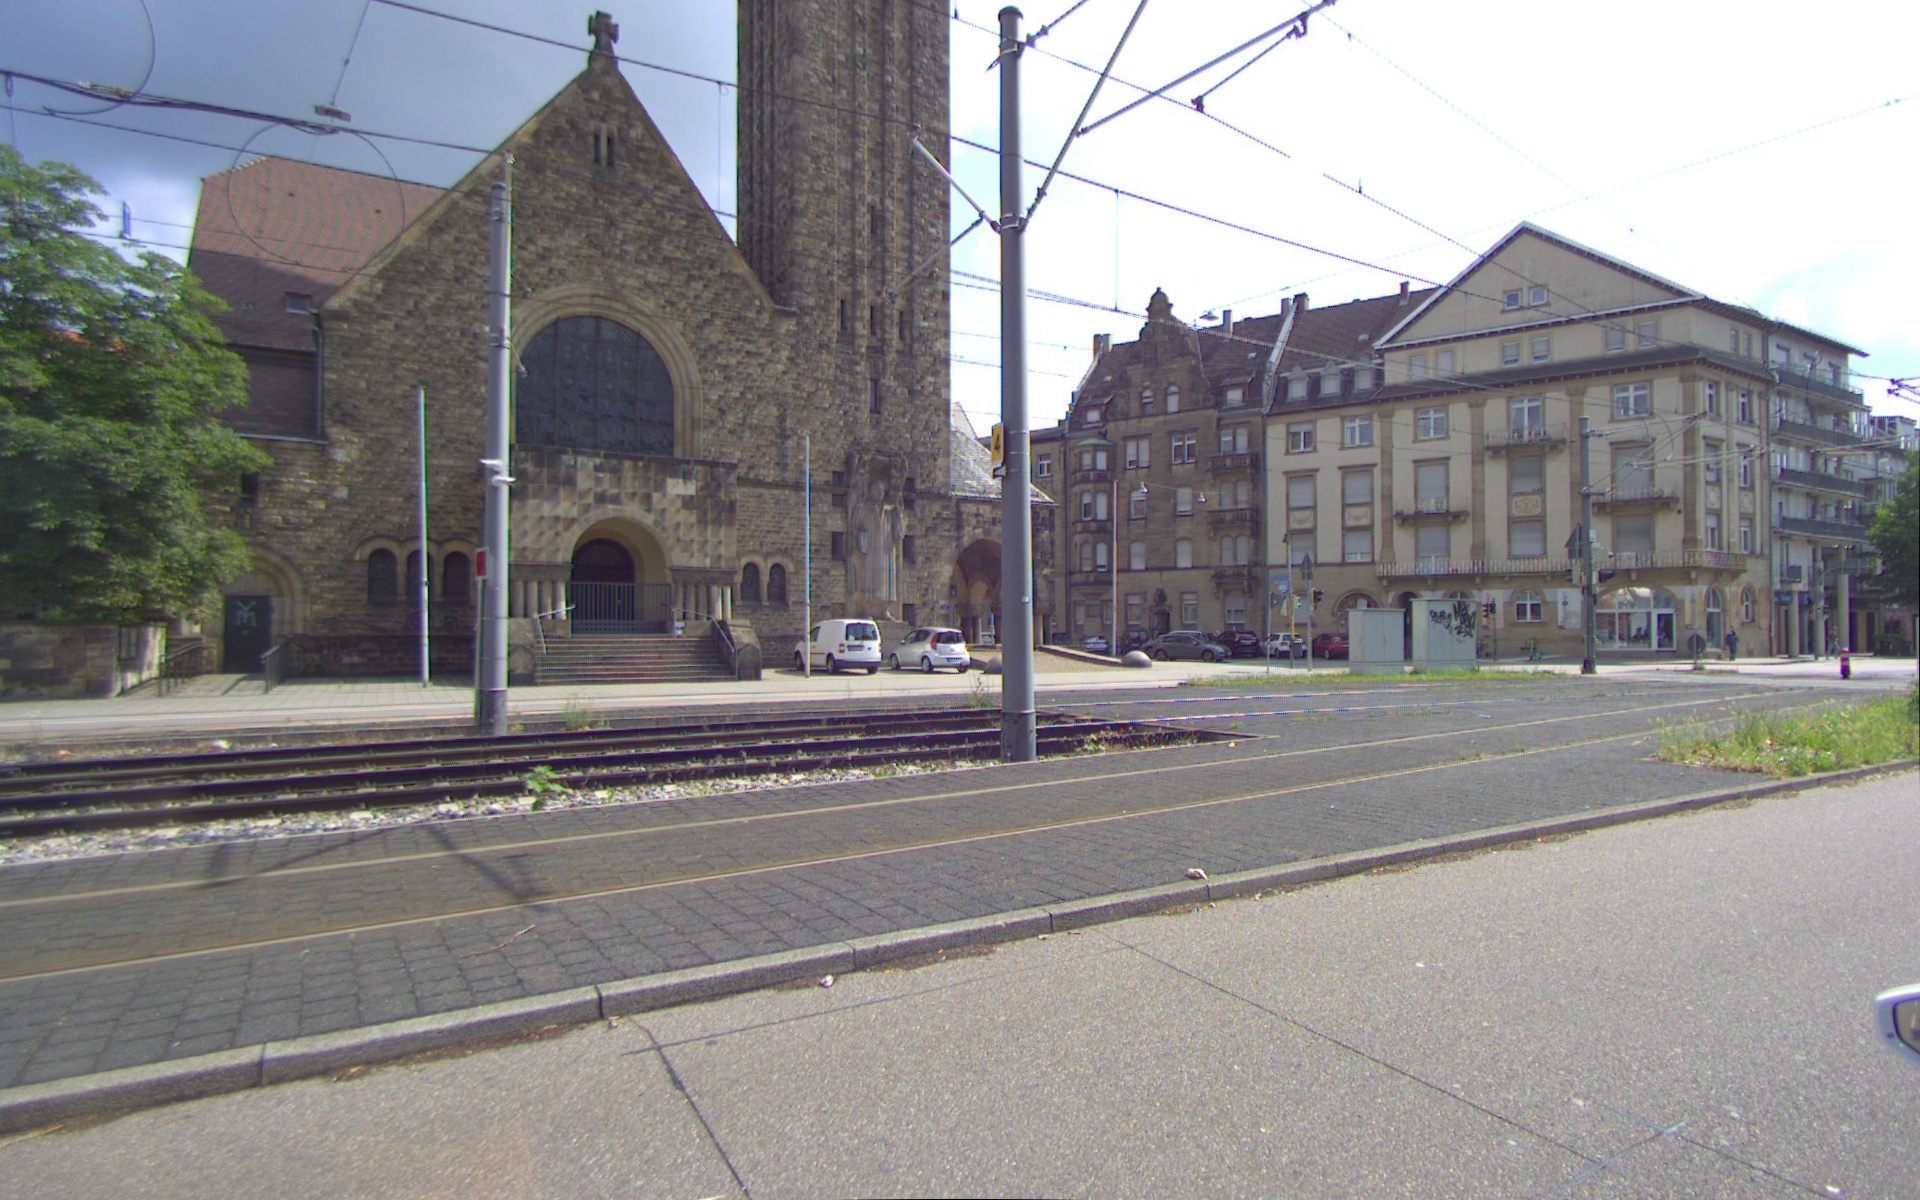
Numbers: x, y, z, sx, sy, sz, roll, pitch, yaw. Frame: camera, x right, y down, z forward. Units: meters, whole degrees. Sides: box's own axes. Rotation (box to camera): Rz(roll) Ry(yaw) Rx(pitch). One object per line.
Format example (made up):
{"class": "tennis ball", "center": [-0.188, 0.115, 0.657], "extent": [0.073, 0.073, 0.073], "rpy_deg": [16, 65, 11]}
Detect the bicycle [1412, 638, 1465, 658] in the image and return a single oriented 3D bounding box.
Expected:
{"class": "bicycle", "center": [26.045, 2.611, 54.690], "extent": [2.522, 1.067, 0.681], "rpy_deg": [-1, -2, 33]}

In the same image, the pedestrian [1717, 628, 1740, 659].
{"class": "pedestrian", "center": [40.181, 2.267, 52.509], "extent": [0.853, 1.617, 0.687], "rpy_deg": [1, -2, -34]}

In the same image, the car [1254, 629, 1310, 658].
{"class": "car", "center": [19.347, 2.582, 60.484], "extent": [1.768, 1.661, 3.997], "rpy_deg": [0, -2, -5]}

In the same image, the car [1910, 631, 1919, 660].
{"class": "car", "center": [70.183, 3.259, 71.998], "extent": [3.953, 2.040, 1.984], "rpy_deg": [1, -2, -30]}

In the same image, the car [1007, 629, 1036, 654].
{"class": "car", "center": [4.321, 2.933, 70.725], "extent": [1.617, 1.718, 3.859], "rpy_deg": [0, -2, -2]}

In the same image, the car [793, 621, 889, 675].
{"class": "car", "center": [-4.226, 1.661, 35.128], "extent": [1.874, 1.771, 3.848], "rpy_deg": [1, -2, -33]}

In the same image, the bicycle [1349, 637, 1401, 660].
{"class": "bicycle", "center": [23.623, 2.755, 57.212], "extent": [0.982, 1.270, 3.312], "rpy_deg": [0, -2, -13]}

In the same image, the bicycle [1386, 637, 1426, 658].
{"class": "bicycle", "center": [24.348, 2.593, 54.854], "extent": [1.939, 1.129, 0.487], "rpy_deg": [-1, -2, 24]}

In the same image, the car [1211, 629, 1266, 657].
{"class": "car", "center": [17.053, 2.621, 61.671], "extent": [1.962, 1.695, 3.997], "rpy_deg": [0, -2, -5]}

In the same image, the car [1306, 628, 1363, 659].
{"class": "car", "center": [21.719, 2.503, 58.438], "extent": [1.960, 1.696, 4.002], "rpy_deg": [0, -2, 3]}

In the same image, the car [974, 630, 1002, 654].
{"class": "car", "center": [1.994, 3.024, 72.372], "extent": [1.686, 1.706, 4.000], "rpy_deg": [0, -2, -2]}

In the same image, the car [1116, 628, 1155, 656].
{"class": "car", "center": [11.427, 2.753, 65.730], "extent": [1.850, 1.782, 4.001], "rpy_deg": [0, -2, 0]}

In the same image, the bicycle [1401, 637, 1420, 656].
{"class": "bicycle", "center": [25.610, 2.643, 57.050], "extent": [0.729, 1.067, 2.561], "rpy_deg": [-1, -2, 30]}

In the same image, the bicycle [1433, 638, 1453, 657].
{"class": "bicycle", "center": [26.993, 2.644, 56.133], "extent": [0.792, 1.067, 2.561], "rpy_deg": [-1, -2, 30]}

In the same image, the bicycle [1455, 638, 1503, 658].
{"class": "bicycle", "center": [28.469, 2.635, 55.054], "extent": [2.526, 1.067, 0.803], "rpy_deg": [0, -2, -19]}

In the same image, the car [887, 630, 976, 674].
{"class": "car", "center": [-1.067, 1.837, 36.123], "extent": [1.834, 1.522, 3.248], "rpy_deg": [1, -2, -31]}

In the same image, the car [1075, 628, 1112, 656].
{"class": "car", "center": [8.923, 2.807, 67.583], "extent": [1.960, 1.760, 4.001], "rpy_deg": [0, -2, 0]}

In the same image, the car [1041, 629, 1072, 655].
{"class": "car", "center": [6.636, 2.882, 69.173], "extent": [1.753, 1.750, 4.001], "rpy_deg": [0, -2, 0]}

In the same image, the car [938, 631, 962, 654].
{"class": "car", "center": [-0.752, 3.126, 74.652], "extent": [1.653, 1.697, 4.000], "rpy_deg": [0, -2, -2]}

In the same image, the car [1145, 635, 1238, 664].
{"class": "car", "center": [12.133, 2.582, 52.824], "extent": [4.497, 1.455, 1.700], "rpy_deg": [-2, -2, 37]}

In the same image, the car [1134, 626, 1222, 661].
{"class": "car", "center": [12.916, 2.576, 59.712], "extent": [4.727, 2.040, 1.994], "rpy_deg": [-2, -2, 35]}

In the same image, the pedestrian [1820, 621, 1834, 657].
{"class": "pedestrian", "center": [49.842, 2.258, 57.742], "extent": [0.415, 2.040, 0.474], "rpy_deg": [1, -2, -35]}
